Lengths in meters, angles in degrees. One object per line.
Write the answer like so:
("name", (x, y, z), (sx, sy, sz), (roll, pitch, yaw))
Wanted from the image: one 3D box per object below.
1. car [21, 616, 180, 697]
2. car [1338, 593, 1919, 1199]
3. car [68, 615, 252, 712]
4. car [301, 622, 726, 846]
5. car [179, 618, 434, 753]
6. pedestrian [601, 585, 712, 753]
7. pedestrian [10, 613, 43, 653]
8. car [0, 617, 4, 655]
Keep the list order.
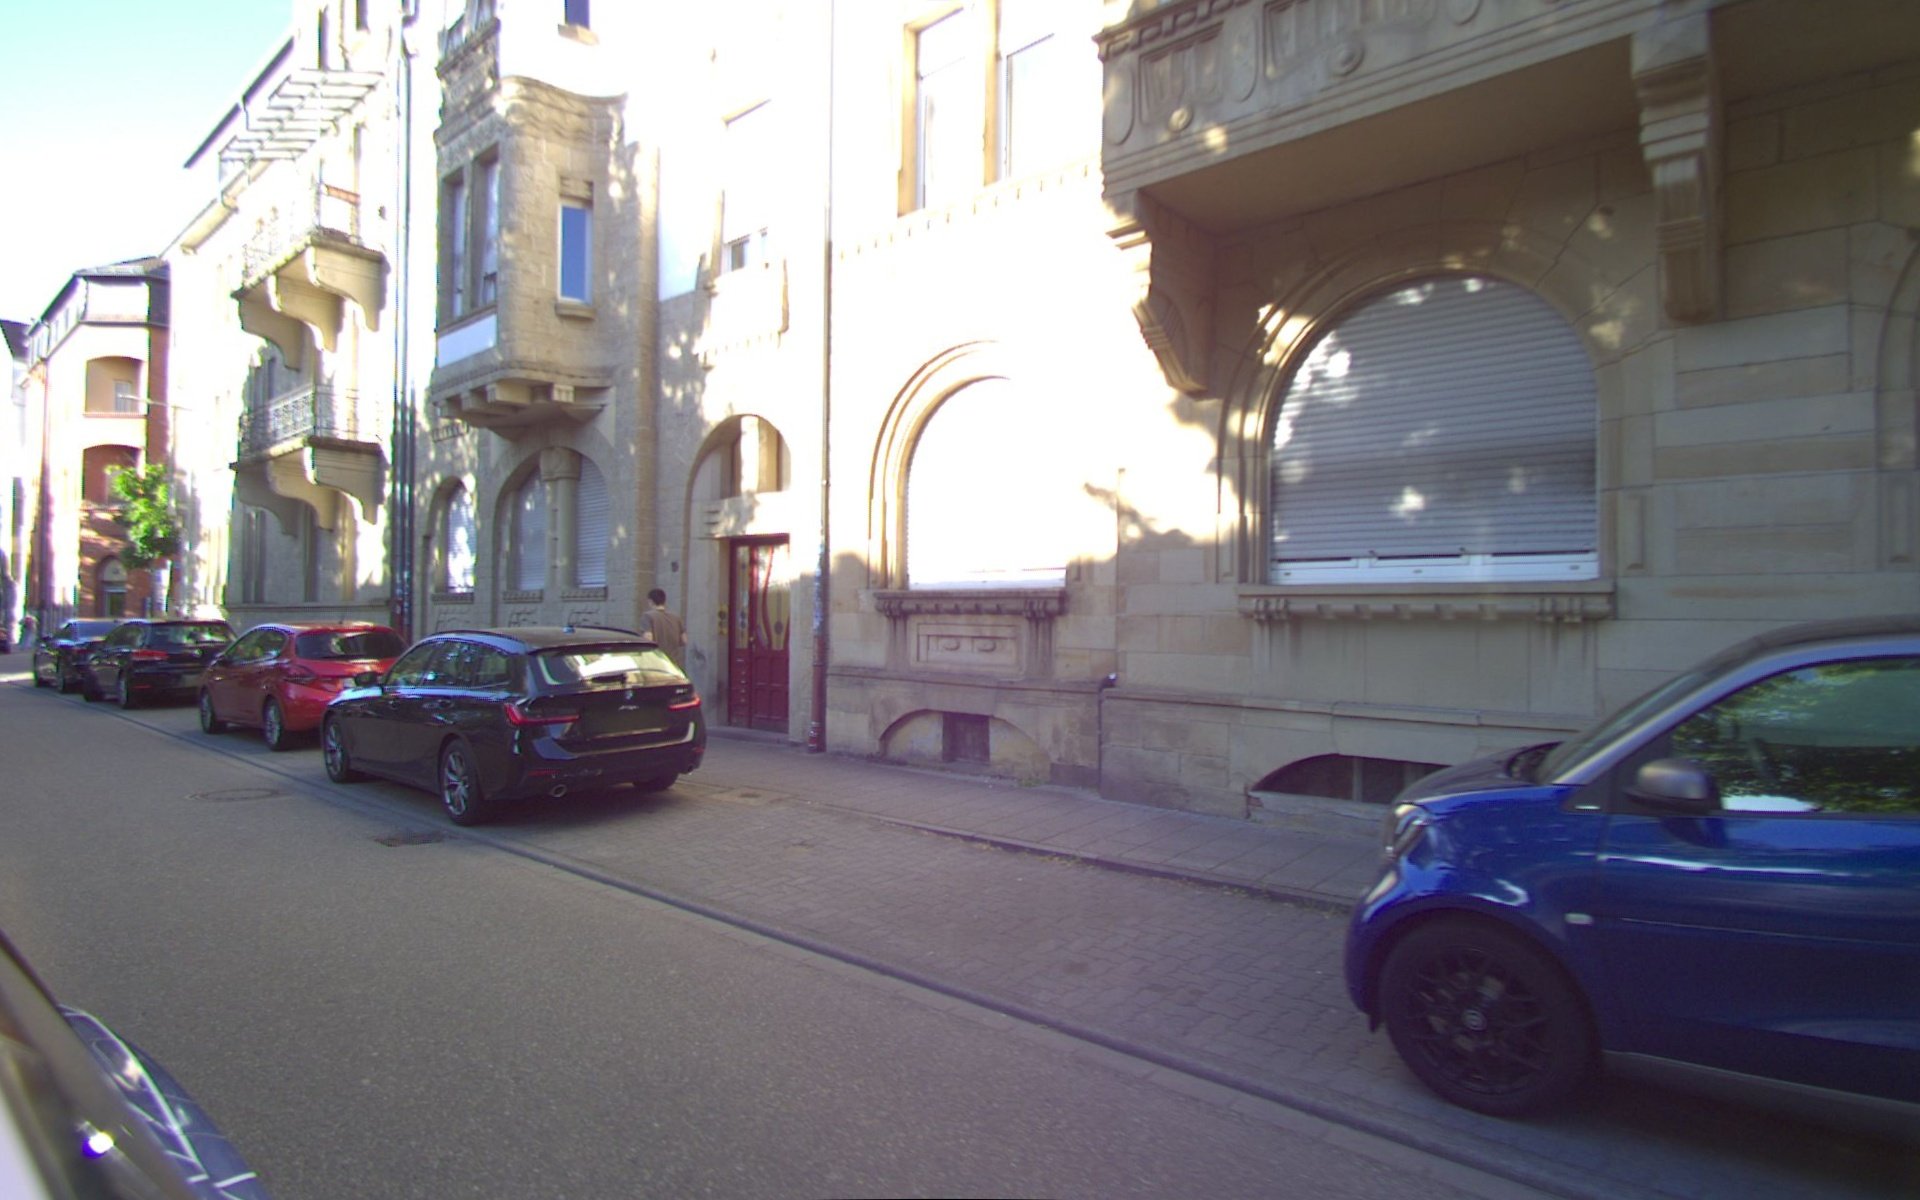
("car", (-18.067, 1.092, 21.181), (4.895, 1.437, 1.792), (0, 0, 41))
("car", (2.808, 0.753, 3.056), (2.734, 1.500, 1.580), (-2, 1, 40))
("car", (-13.944, 1.018, 17.563), (4.024, 1.464, 1.679), (0, -2, 40))
("car", (-4.087, 0.949, 8.837), (4.548, 1.441, 1.658), (-2, -1, 42))
("car", (-8.398, 0.979, 12.904), (3.833, 1.464, 1.613), (-1, -1, 39))
("pedestrian", (-3.350, 0.728, 11.192), (0.734, 1.755, 0.928), (0, -1, 41))
("pedestrian", (-38.452, 1.334, 41.677), (1.053, 1.589, 0.879), (1, 0, 41))
("car", (-38.069, 1.383, 38.821), (4.331, 1.421, 1.619), (0, 0, 41))
